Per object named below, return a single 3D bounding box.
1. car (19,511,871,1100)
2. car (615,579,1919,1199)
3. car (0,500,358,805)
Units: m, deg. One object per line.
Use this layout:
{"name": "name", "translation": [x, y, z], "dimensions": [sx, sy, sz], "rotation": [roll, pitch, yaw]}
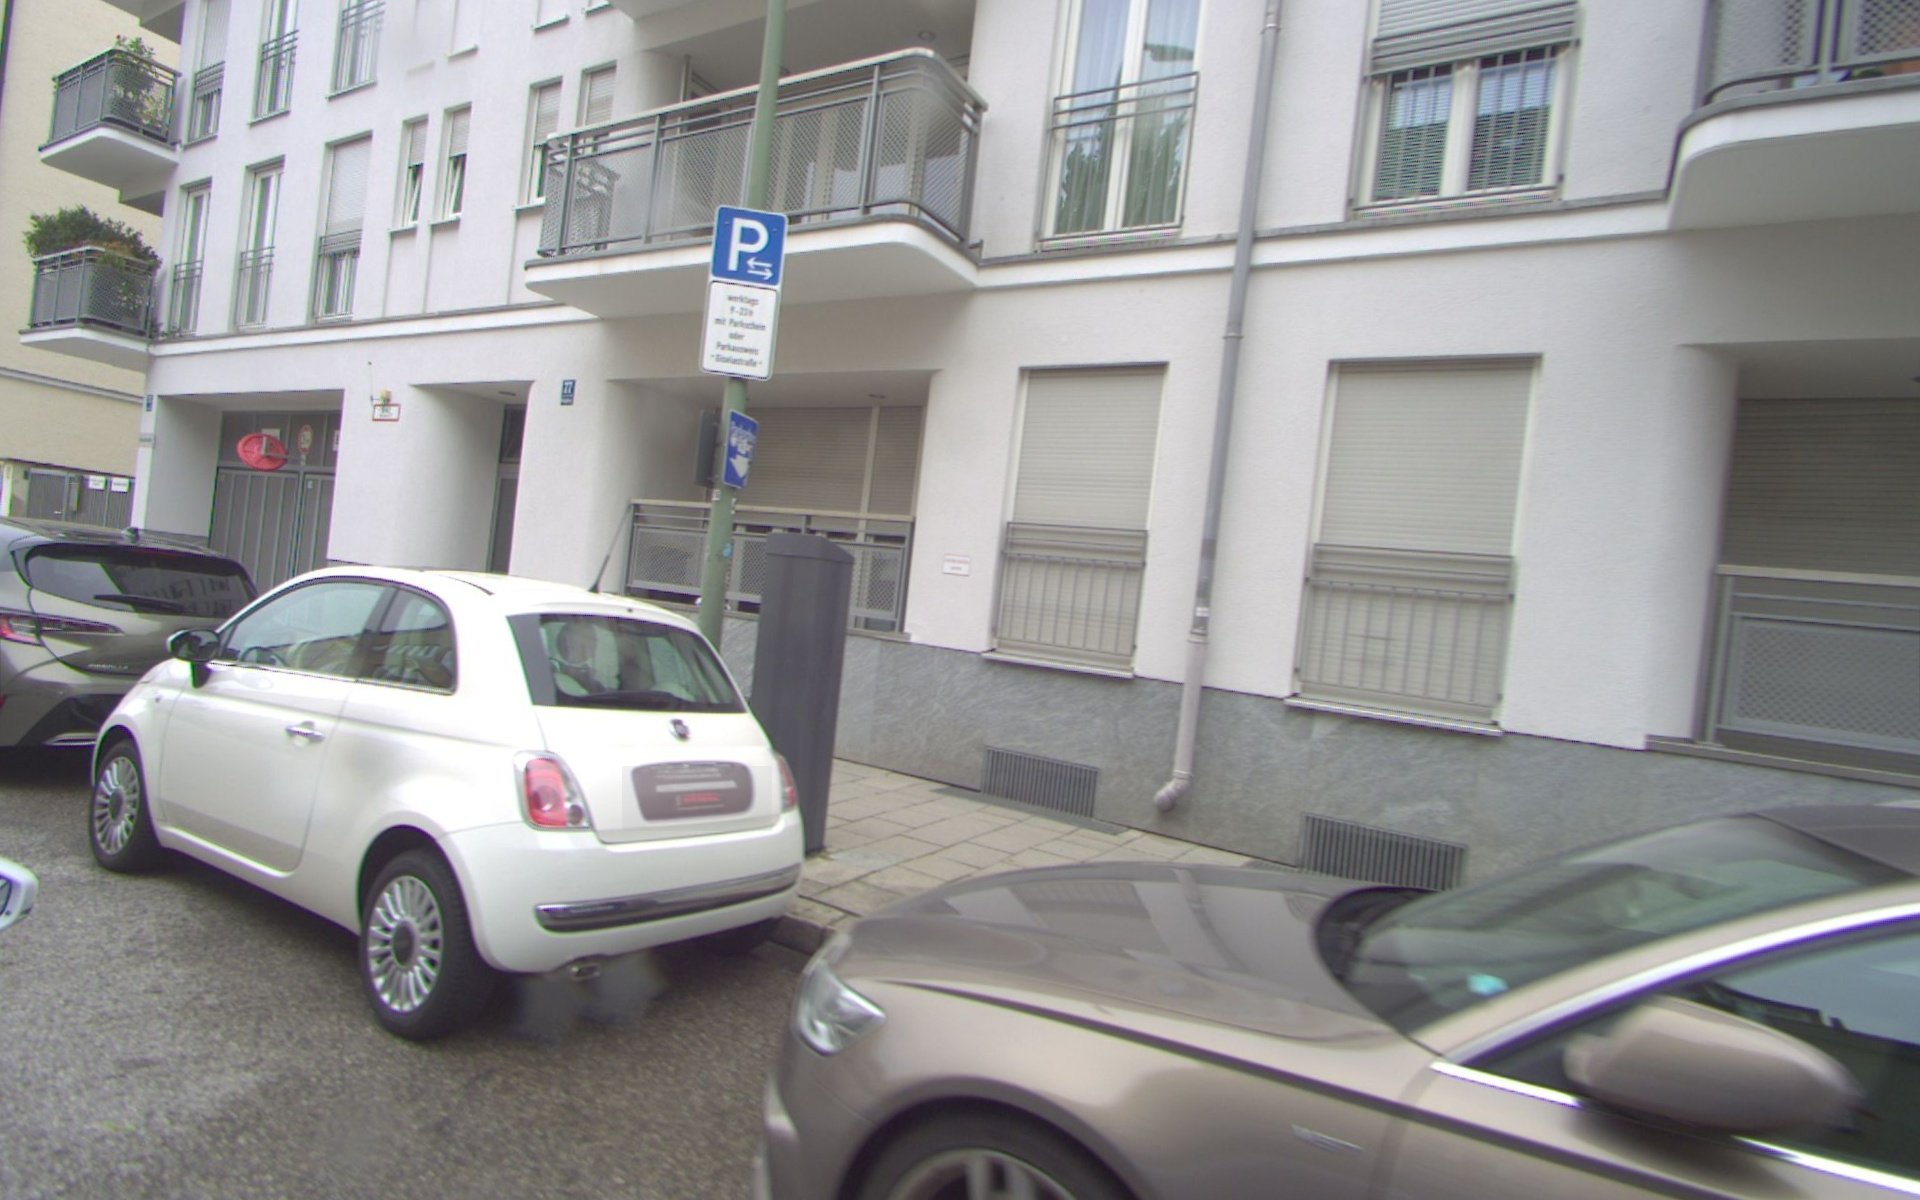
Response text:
{"name": "car", "translation": [-2.437, 0.578, 4.537], "dimensions": [3.684, 1.484, 1.620], "rotation": [7, -1, 31]}
{"name": "car", "translation": [1.717, 1.009, 1.799], "dimensions": [4.525, 1.499, 1.795], "rotation": [7, -2, 30]}
{"name": "car", "translation": [-6.205, 0.128, 6.738], "dimensions": [4.145, 1.493, 1.775], "rotation": [7, 0, 29]}
